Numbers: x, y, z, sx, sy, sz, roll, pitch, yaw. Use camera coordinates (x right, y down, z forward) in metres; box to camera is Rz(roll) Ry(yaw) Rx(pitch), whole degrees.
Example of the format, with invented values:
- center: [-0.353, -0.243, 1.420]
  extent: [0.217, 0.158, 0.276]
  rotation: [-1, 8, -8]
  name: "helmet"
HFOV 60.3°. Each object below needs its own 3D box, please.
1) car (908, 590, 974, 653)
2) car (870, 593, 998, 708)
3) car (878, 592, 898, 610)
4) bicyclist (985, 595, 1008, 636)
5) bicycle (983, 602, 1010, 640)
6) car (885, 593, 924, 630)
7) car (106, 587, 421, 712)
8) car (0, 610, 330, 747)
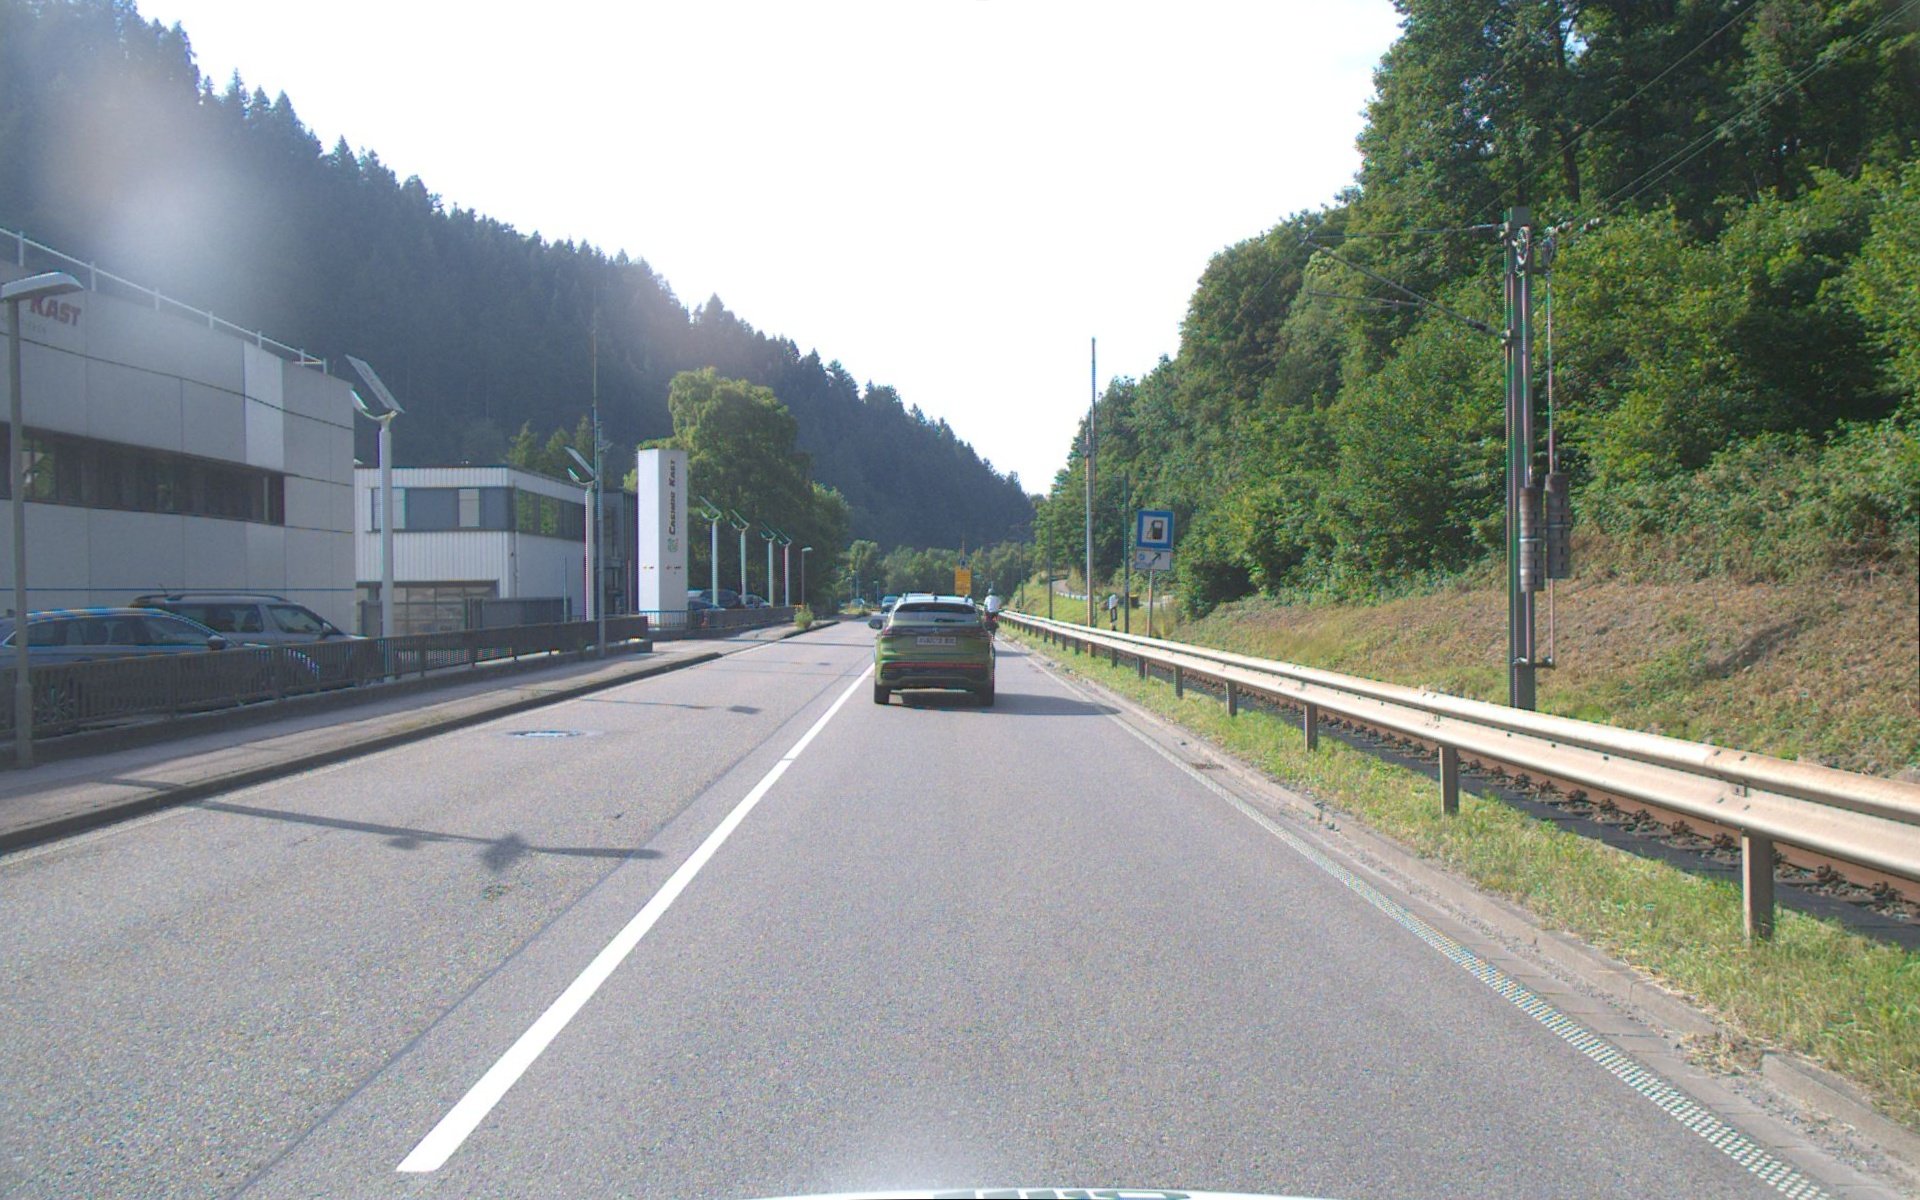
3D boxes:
- center: [-0.554, 0.556, 45.360]
  extent: [1.704, 1.630, 3.999]
  rotation: [1, 0, -2]
  name: "car"
- center: [-0.411, 0.666, 24.136]
  extent: [1.704, 1.534, 3.999]
  rotation: [0, 0, -2]
  name: "car"
- center: [-6.194, 0.102, 142.456]
  extent: [1.643, 1.511, 4.245]
  rotation: [2, 0, -1]
  name: "car"
- center: [1.267, 0.530, 58.002]
  extent: [0.766, 1.436, 0.674]
  rotation: [0, 0, -3]
  name: "bicyclist"
- center: [1.286, 0.720, 57.906]
  extent: [0.795, 1.272, 2.121]
  rotation: [0, 0, -3]
  name: "bicycle"
- center: [-2.475, 0.503, 74.245]
  extent: [1.704, 1.630, 3.999]
  rotation: [1, 0, -2]
  name: "car"
- center: [-10.471, 0.685, 25.089]
  extent: [1.749, 1.738, 4.088]
  rotation: [0, 0, 40]
  name: "car"
- center: [-10.453, 0.908, 20.742]
  extent: [1.854, 1.521, 4.464]
  rotation: [0, 0, 40]
  name: "car"
